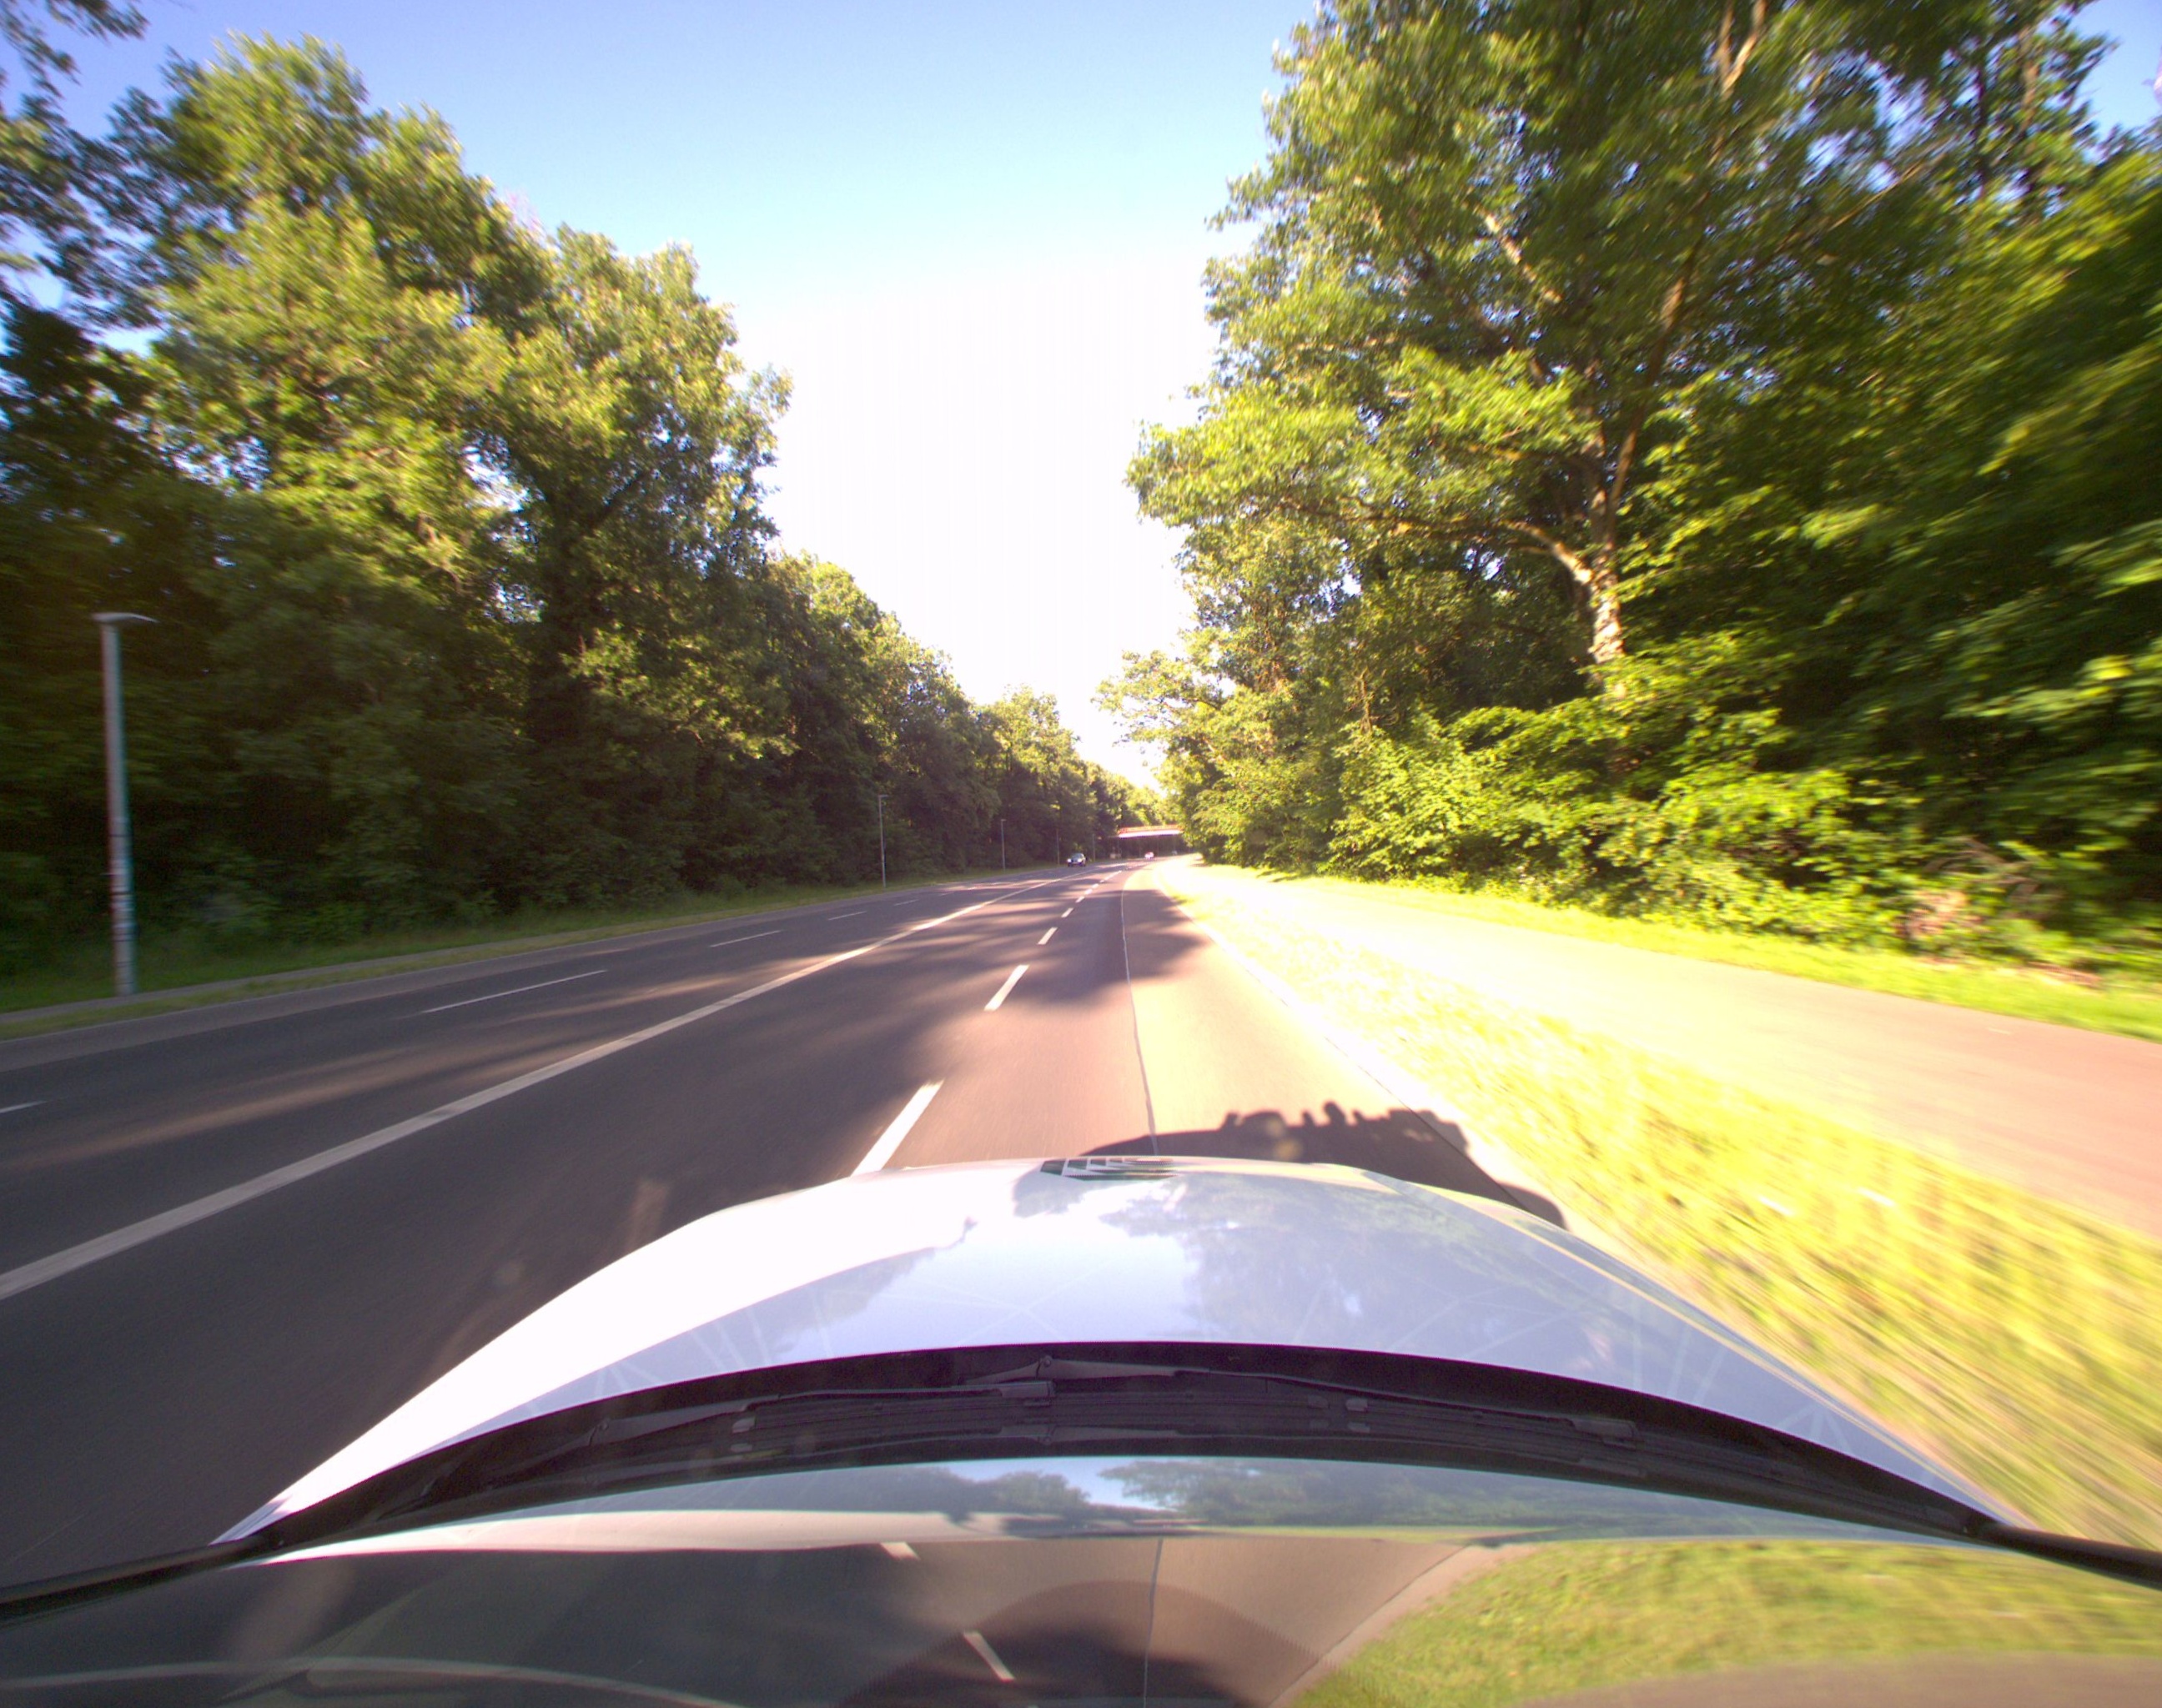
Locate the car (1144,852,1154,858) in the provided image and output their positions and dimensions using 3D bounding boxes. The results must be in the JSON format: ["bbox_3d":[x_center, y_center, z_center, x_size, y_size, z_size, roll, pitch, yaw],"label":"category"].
[{"bbox_3d":[16.982,0.207,203.007,1.697,1.423,4.147,-2,0,15],"label":"car"}]

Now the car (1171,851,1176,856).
[{"bbox_3d":[28.328,-0.188,249.617,1.487,1.444,3.507,-2,0,7],"label":"car"}]

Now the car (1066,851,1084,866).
[{"bbox_3d":[-0.686,0.516,99.388,1.800,1.663,4.525,-2,0,3],"label":"car"}]
